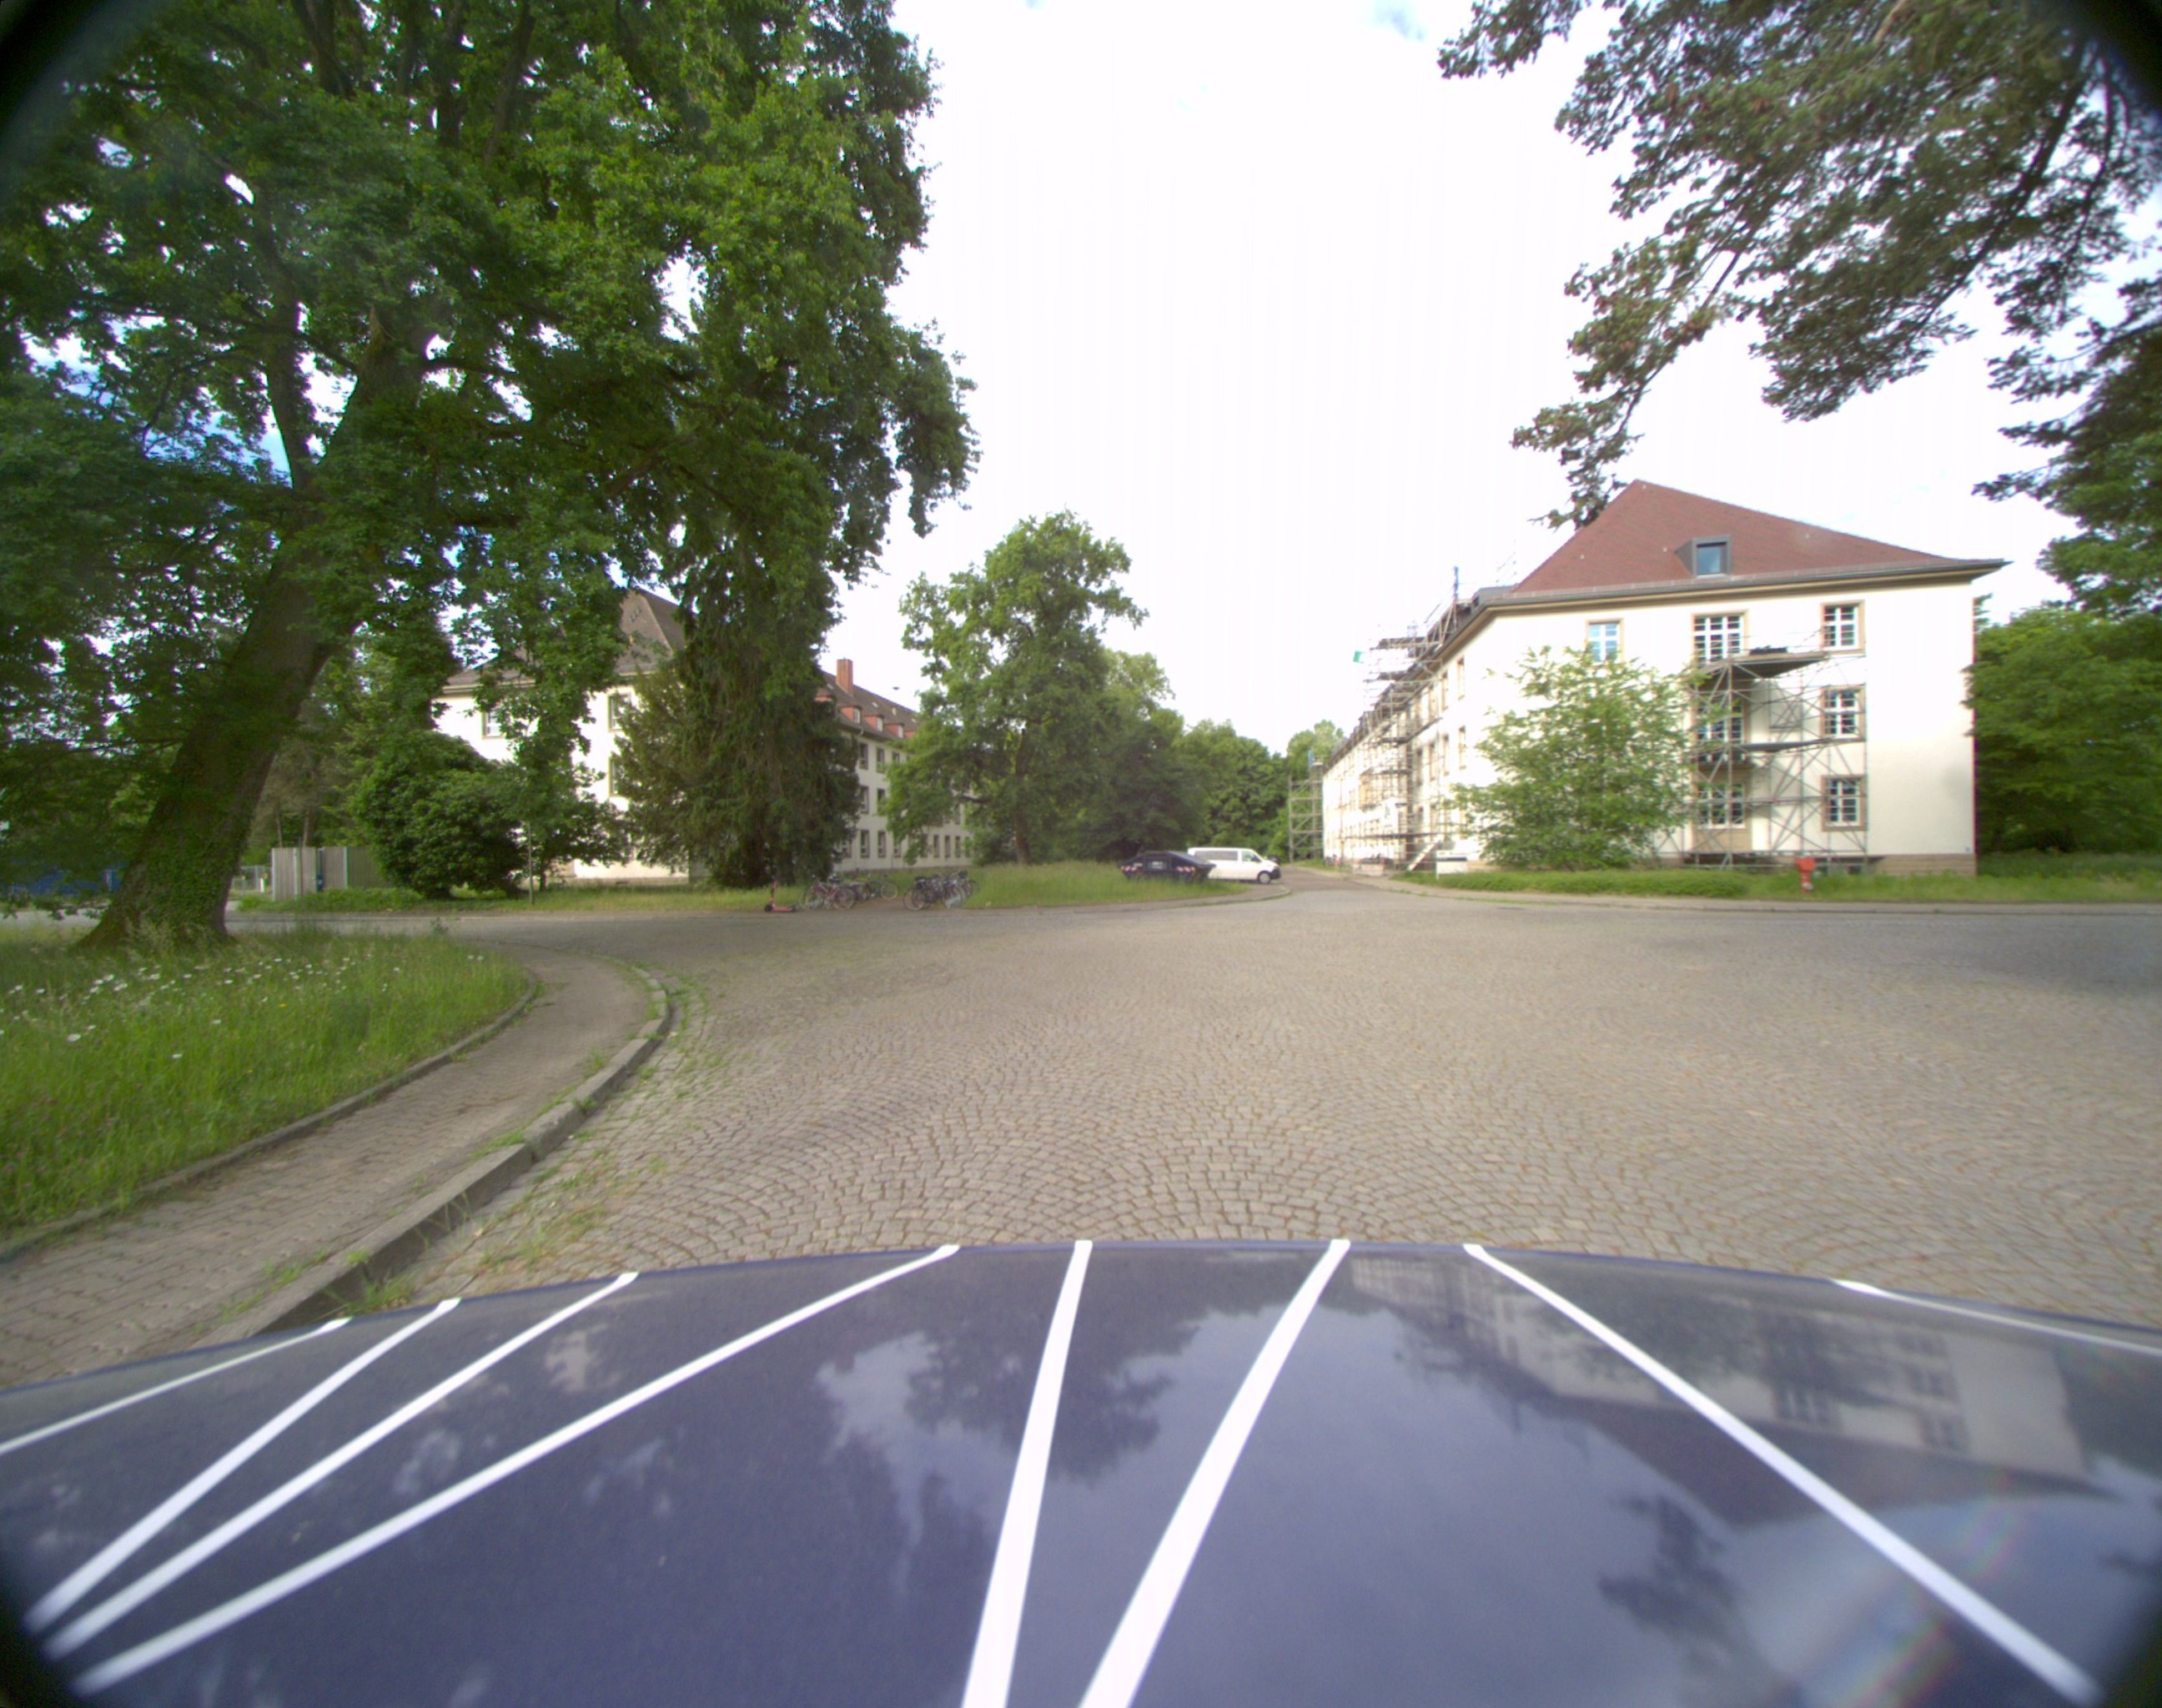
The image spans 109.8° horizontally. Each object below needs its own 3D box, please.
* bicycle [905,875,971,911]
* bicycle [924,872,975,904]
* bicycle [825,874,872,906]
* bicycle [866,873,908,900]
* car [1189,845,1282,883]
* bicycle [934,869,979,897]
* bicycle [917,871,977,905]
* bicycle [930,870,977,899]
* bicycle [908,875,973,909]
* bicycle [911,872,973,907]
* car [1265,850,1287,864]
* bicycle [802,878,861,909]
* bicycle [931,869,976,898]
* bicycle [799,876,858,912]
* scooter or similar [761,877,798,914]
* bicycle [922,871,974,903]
[{"bbox_3d":[-4.534,1.226,24.113,2.018,1.082,0.478,-1,3,-10],"label":"bicycle"},{"bbox_3d":[-4.698,1.207,27.184,1.789,1.082,0.478,-1,3,-10],"label":"bicycle"},{"bbox_3d":[-8.362,1.286,27.351,1.567,1.082,0.561,-1,1,-19],"label":"bicycle"},{"bbox_3d":[-7.595,1.269,29.754,1.566,1.028,0.476,-1,1,-13],"label":"bicycle"},{"bbox_3d":[8.504,0.563,42.189,4.911,1.983,2.001,-1,0,9],"label":"car"},{"bbox_3d":[-5.142,1.184,31.425,1.826,1.082,0.552,-1,3,-10],"label":"bicycle"},{"bbox_3d":[-4.636,1.171,26.366,2.018,1.082,0.478,-1,3,-10],"label":"bicycle"},{"bbox_3d":[-4.999,1.194,29.860,1.808,1.082,0.552,-1,3,-10],"label":"bicycle"},{"bbox_3d":[-4.545,1.229,24.605,2.018,1.004,0.478,-1,3,-10],"label":"bicycle"},{"bbox_3d":[-4.698,1.191,25.728,2.018,1.082,0.478,-1,3,-10],"label":"bicycle"},{"bbox_3d":[27.193,0.419,106.036,2.027,1.915,4.000,-1,0,1],"label":"car"},{"bbox_3d":[-8.426,1.333,25.717,1.857,0.984,0.455,-1,1,-16],"label":"bicycle"},{"bbox_3d":[-5.134,1.193,30.630,1.751,1.082,0.552,-1,3,-10],"label":"bicycle"},{"bbox_3d":[-8.332,1.314,25.164,1.814,1.082,0.478,-1,3,-16],"label":"bicycle"},{"bbox_3d":[-9.791,1.343,24.660,1.062,1.187,0.386,-1,0,14],"label":"scooter or similar"},{"bbox_3d":[-4.887,1.205,27.958,1.866,1.082,0.519,-1,3,-10],"label":"bicycle"}]
